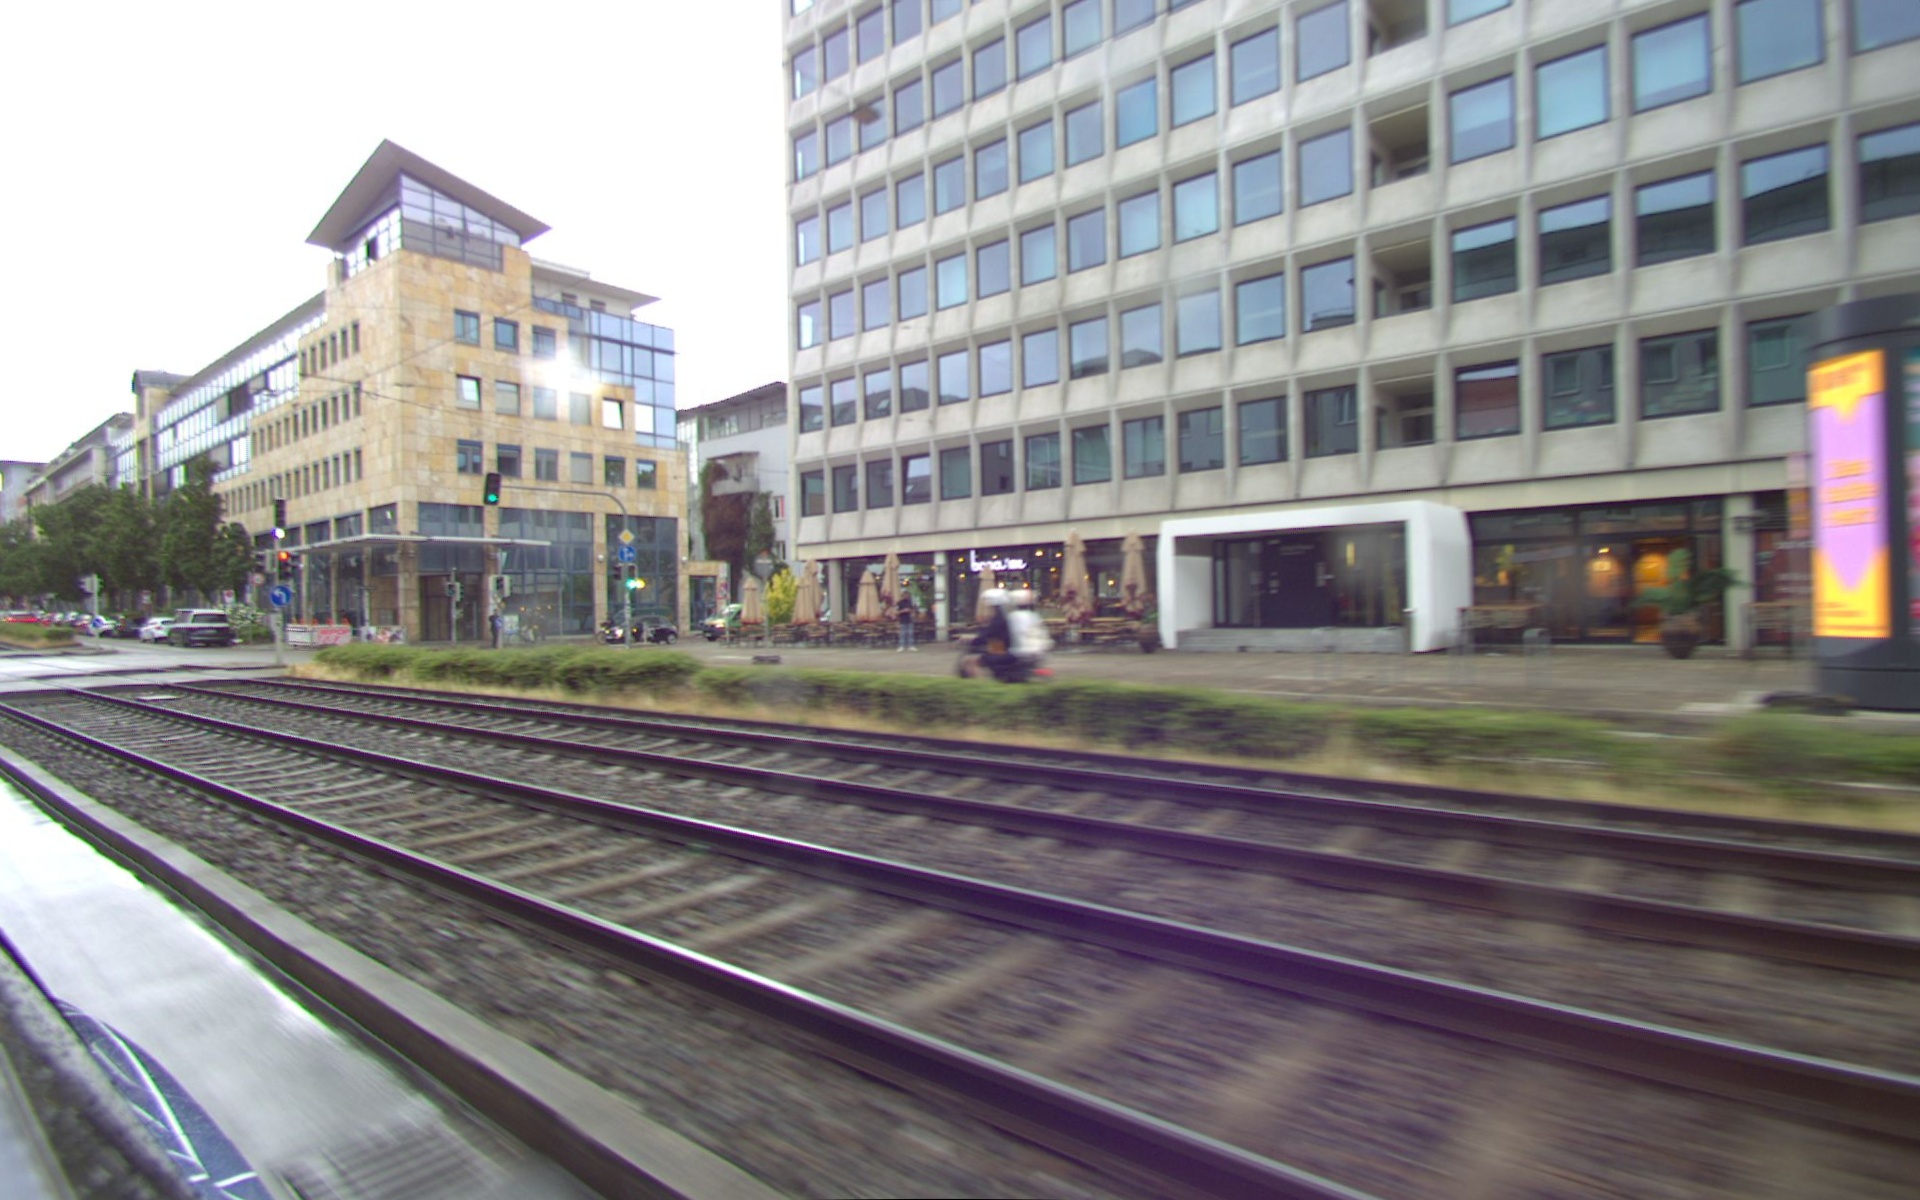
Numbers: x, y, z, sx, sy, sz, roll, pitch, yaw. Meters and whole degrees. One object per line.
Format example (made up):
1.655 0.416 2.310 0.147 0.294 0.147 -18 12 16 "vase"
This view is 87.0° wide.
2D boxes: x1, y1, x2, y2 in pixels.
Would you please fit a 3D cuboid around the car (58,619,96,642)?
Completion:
-66.460 2.264 76.159 4.291 1.613 1.632 0 -1 41 "car"

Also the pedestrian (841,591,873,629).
-4.279 0.406 41.992 0.896 1.544 0.952 -2 -1 41 "pedestrian"

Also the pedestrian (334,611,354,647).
-31.858 1.519 52.362 0.679 1.828 0.693 -2 -1 43 "pedestrian"

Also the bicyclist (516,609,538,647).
-21.310 1.388 49.807 0.783 1.818 0.701 -2 -1 40 "bicyclist"

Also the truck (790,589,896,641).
-7.470 0.940 65.589 2.459 3.188 7.078 -2 0 39 "truck"

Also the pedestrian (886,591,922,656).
-1.588 0.668 28.827 0.843 1.836 0.559 -1 0 36 "pedestrian"

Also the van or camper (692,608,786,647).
-12.676 1.554 58.310 2.095 2.077 5.031 -2 0 40 "van or camper"

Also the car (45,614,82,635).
-71.069 1.911 80.175 4.619 1.552 1.632 0 -1 41 "car"

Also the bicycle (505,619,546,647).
-21.378 1.618 49.780 0.659 1.321 1.746 -2 -1 40 "bicycle"

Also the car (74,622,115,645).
-61.999 2.374 72.442 4.291 1.509 1.632 0 -1 41 "car"

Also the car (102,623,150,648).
-54.259 2.292 65.805 3.996 1.497 1.672 -2 -1 39 "car"

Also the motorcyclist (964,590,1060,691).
0.662 0.496 12.962 0.970 1.227 0.734 -1 0 42 "motorcyclist"

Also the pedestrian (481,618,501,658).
-21.622 1.730 46.661 0.667 1.794 0.705 -1 -1 -15 "pedestrian"

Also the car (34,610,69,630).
-75.607 1.645 84.203 4.619 1.552 1.632 0 -1 41 "car"

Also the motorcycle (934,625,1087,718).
0.620 0.882 13.020 1.931 1.067 0.734 -1 0 43 "motorcycle"

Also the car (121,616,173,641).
-50.535 1.775 62.880 4.291 1.497 1.672 -2 -1 39 "car"

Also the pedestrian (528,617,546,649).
-22.327 1.718 53.437 0.703 1.648 0.573 -2 1 41 "pedestrian"

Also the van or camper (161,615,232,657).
-40.700 1.869 53.877 5.195 2.012 1.996 0 1 41 "van or camper"

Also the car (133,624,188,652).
-46.362 2.193 58.668 4.251 1.497 1.672 -2 -1 39 "car"

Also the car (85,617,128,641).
-58.078 1.951 68.823 4.190 1.509 1.632 0 -1 41 "car"

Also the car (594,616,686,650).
-15.835 1.610 50.255 1.890 1.541 3.945 -2 0 41 "car"

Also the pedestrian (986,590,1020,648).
1.322 0.586 31.237 0.843 1.762 0.559 -1 0 36 "pedestrian"

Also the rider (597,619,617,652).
-18.593 1.860 53.340 0.783 1.688 0.701 -2 -1 40 "rider"

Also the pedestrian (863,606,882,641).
-3.430 0.921 39.716 0.553 1.332 0.517 -1 0 41 "pedestrian"
